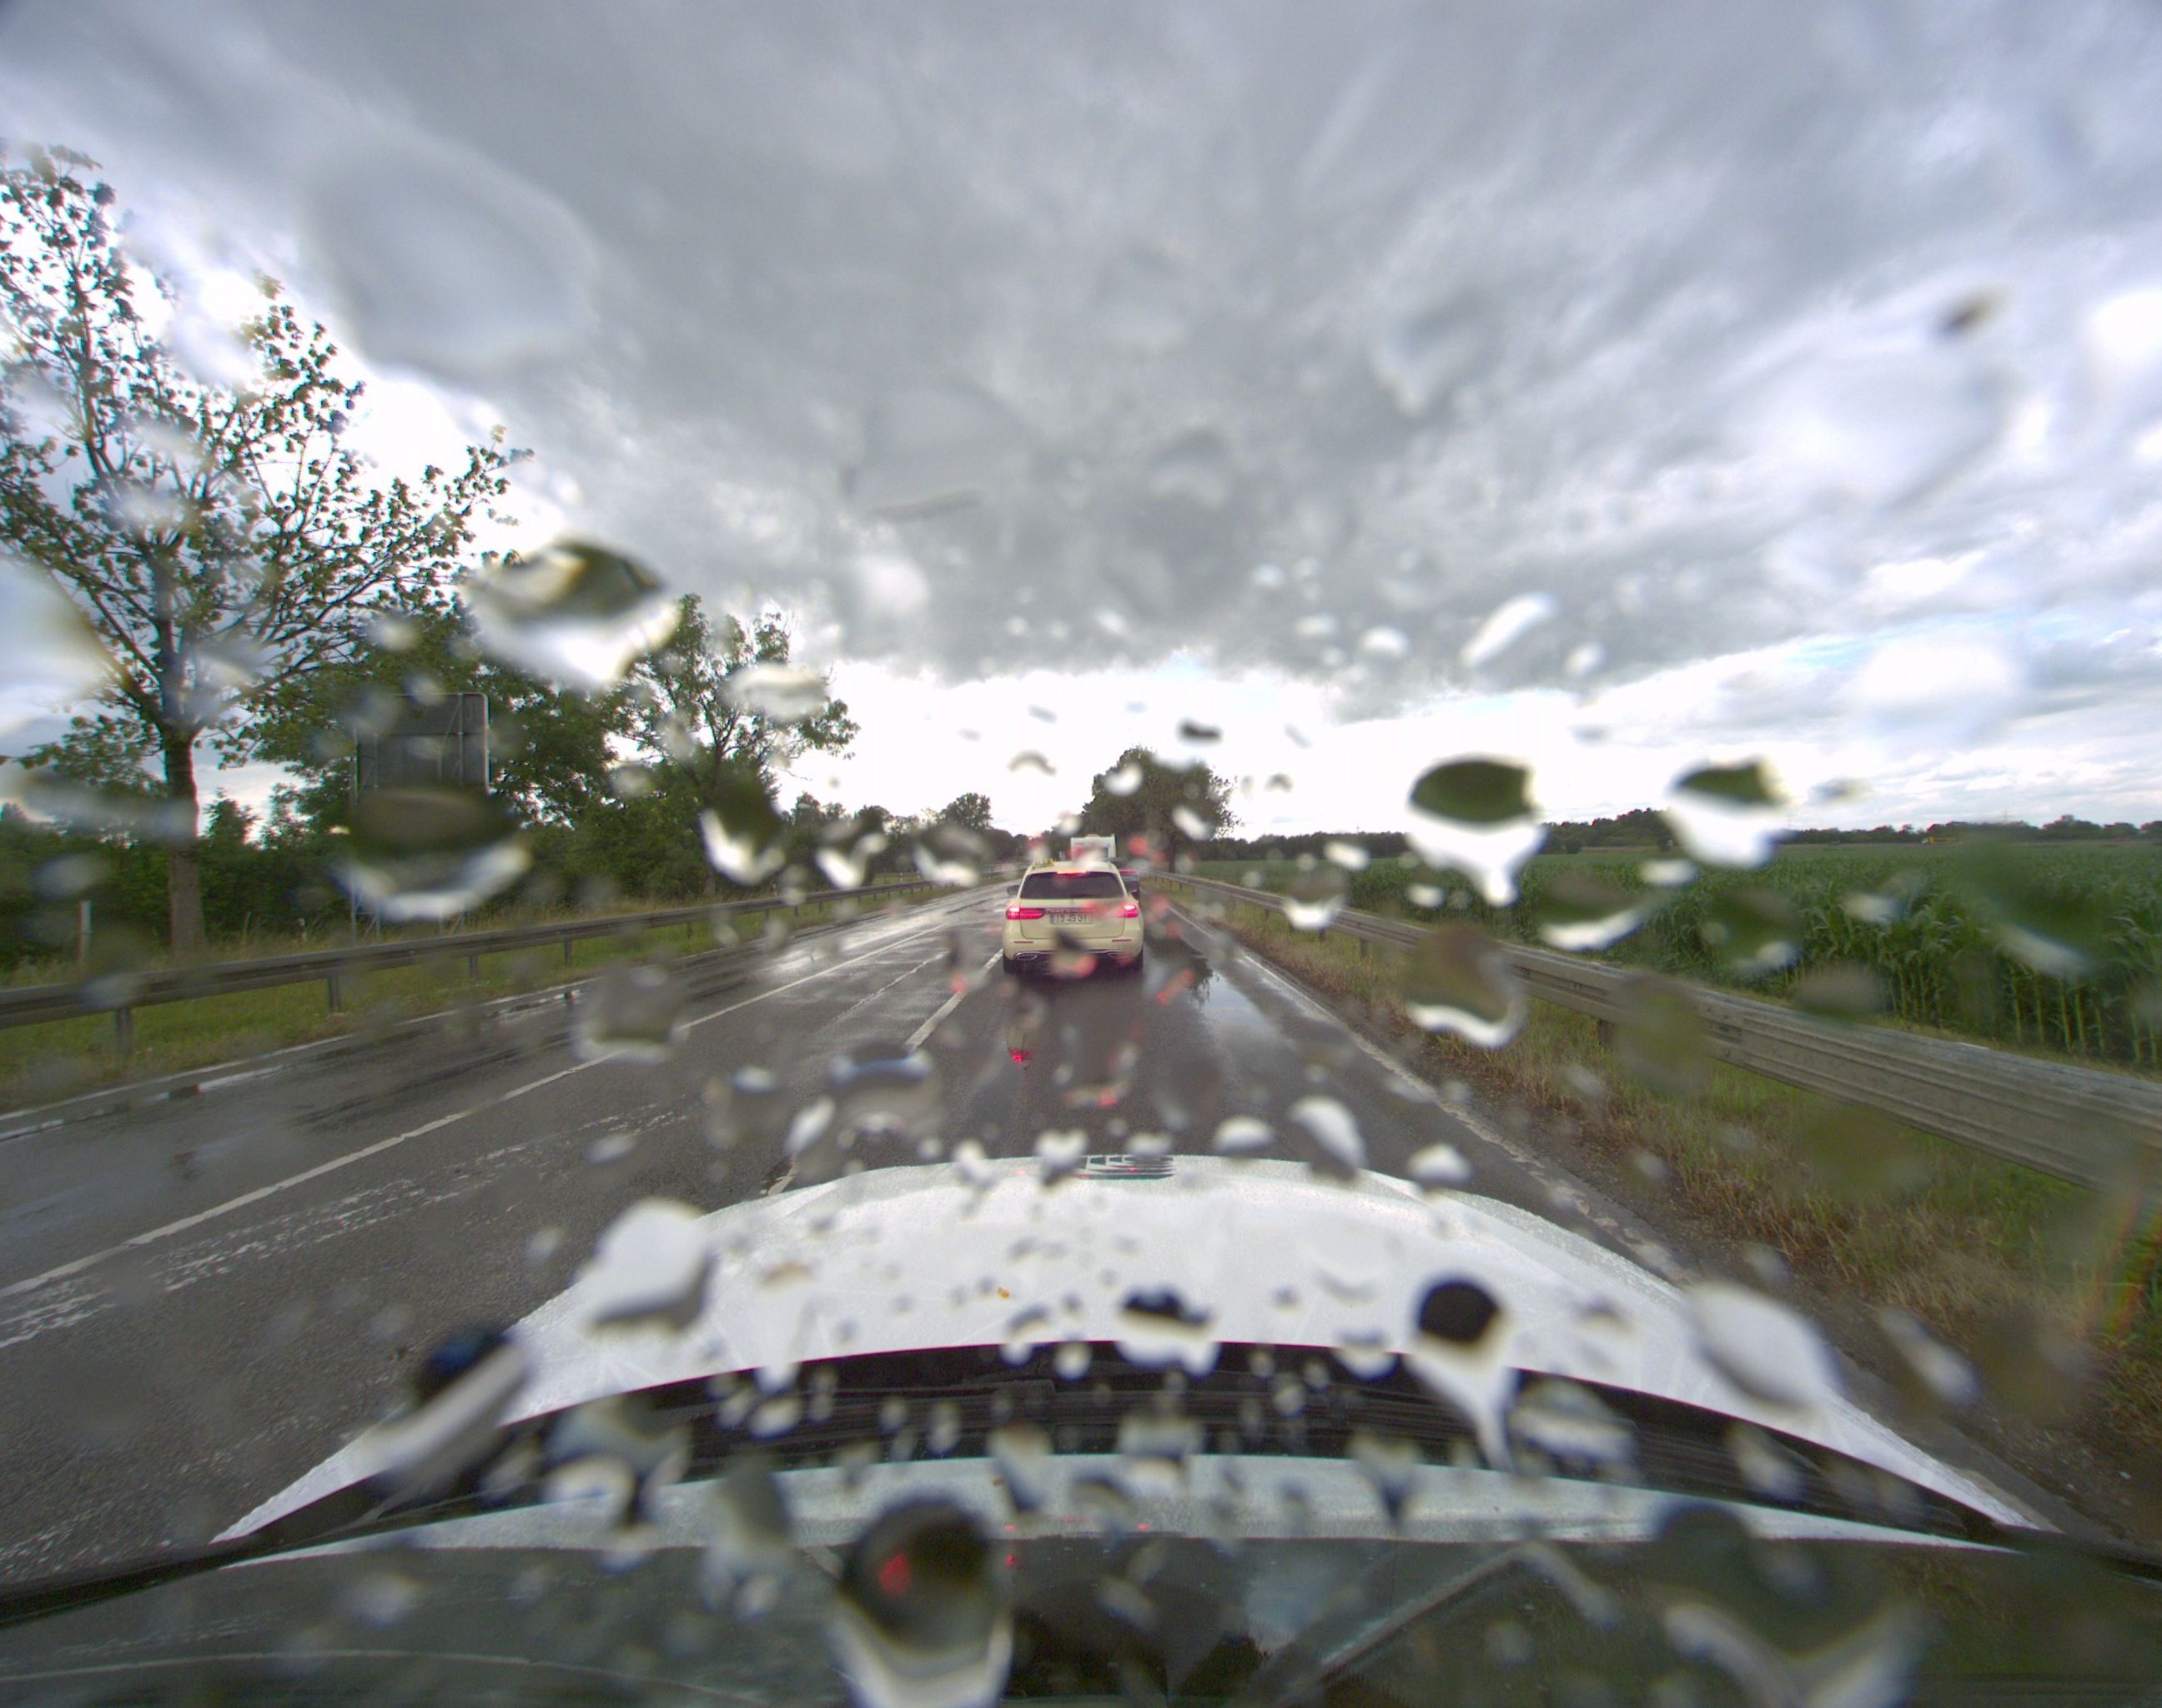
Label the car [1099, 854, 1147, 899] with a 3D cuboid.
[{"bbox_3d":[1.516,0.777,30.284,1.621,1.529,3.934,-2,0,2],"label":"car"}]

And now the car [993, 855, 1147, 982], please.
[{"bbox_3d":[-0.038,0.784,11.787,1.817,1.485,4.148,-1,0,3],"label":"car"}]

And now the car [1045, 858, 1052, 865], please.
[{"bbox_3d":[-9.766,2.334,246.327,1.989,2.013,3.995,-1,0,-4],"label":"car"}]

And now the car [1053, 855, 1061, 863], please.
[{"bbox_3d":[-6.170,1.186,210.830,1.988,2.014,3.998,-1,0,-1],"label":"car"}]

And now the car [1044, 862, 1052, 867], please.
[{"bbox_3d":[-8.308,2.733,206.503,1.752,1.269,4.001,-2,0,1],"label":"car"}]

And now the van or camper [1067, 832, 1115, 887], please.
[{"bbox_3d":[0.601,0.266,43.763,2.342,2.680,5.770,-1,0,2],"label":"van or camper"}]

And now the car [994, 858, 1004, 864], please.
[{"bbox_3d":[-22.985,1.869,228.306,1.985,1.651,4.003,-1,0,3],"label":"car"}]

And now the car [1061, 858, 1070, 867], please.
[{"bbox_3d":[-3.819,2.029,198.280,1.986,2.051,4.002,-1,0,2],"label":"car"}]
